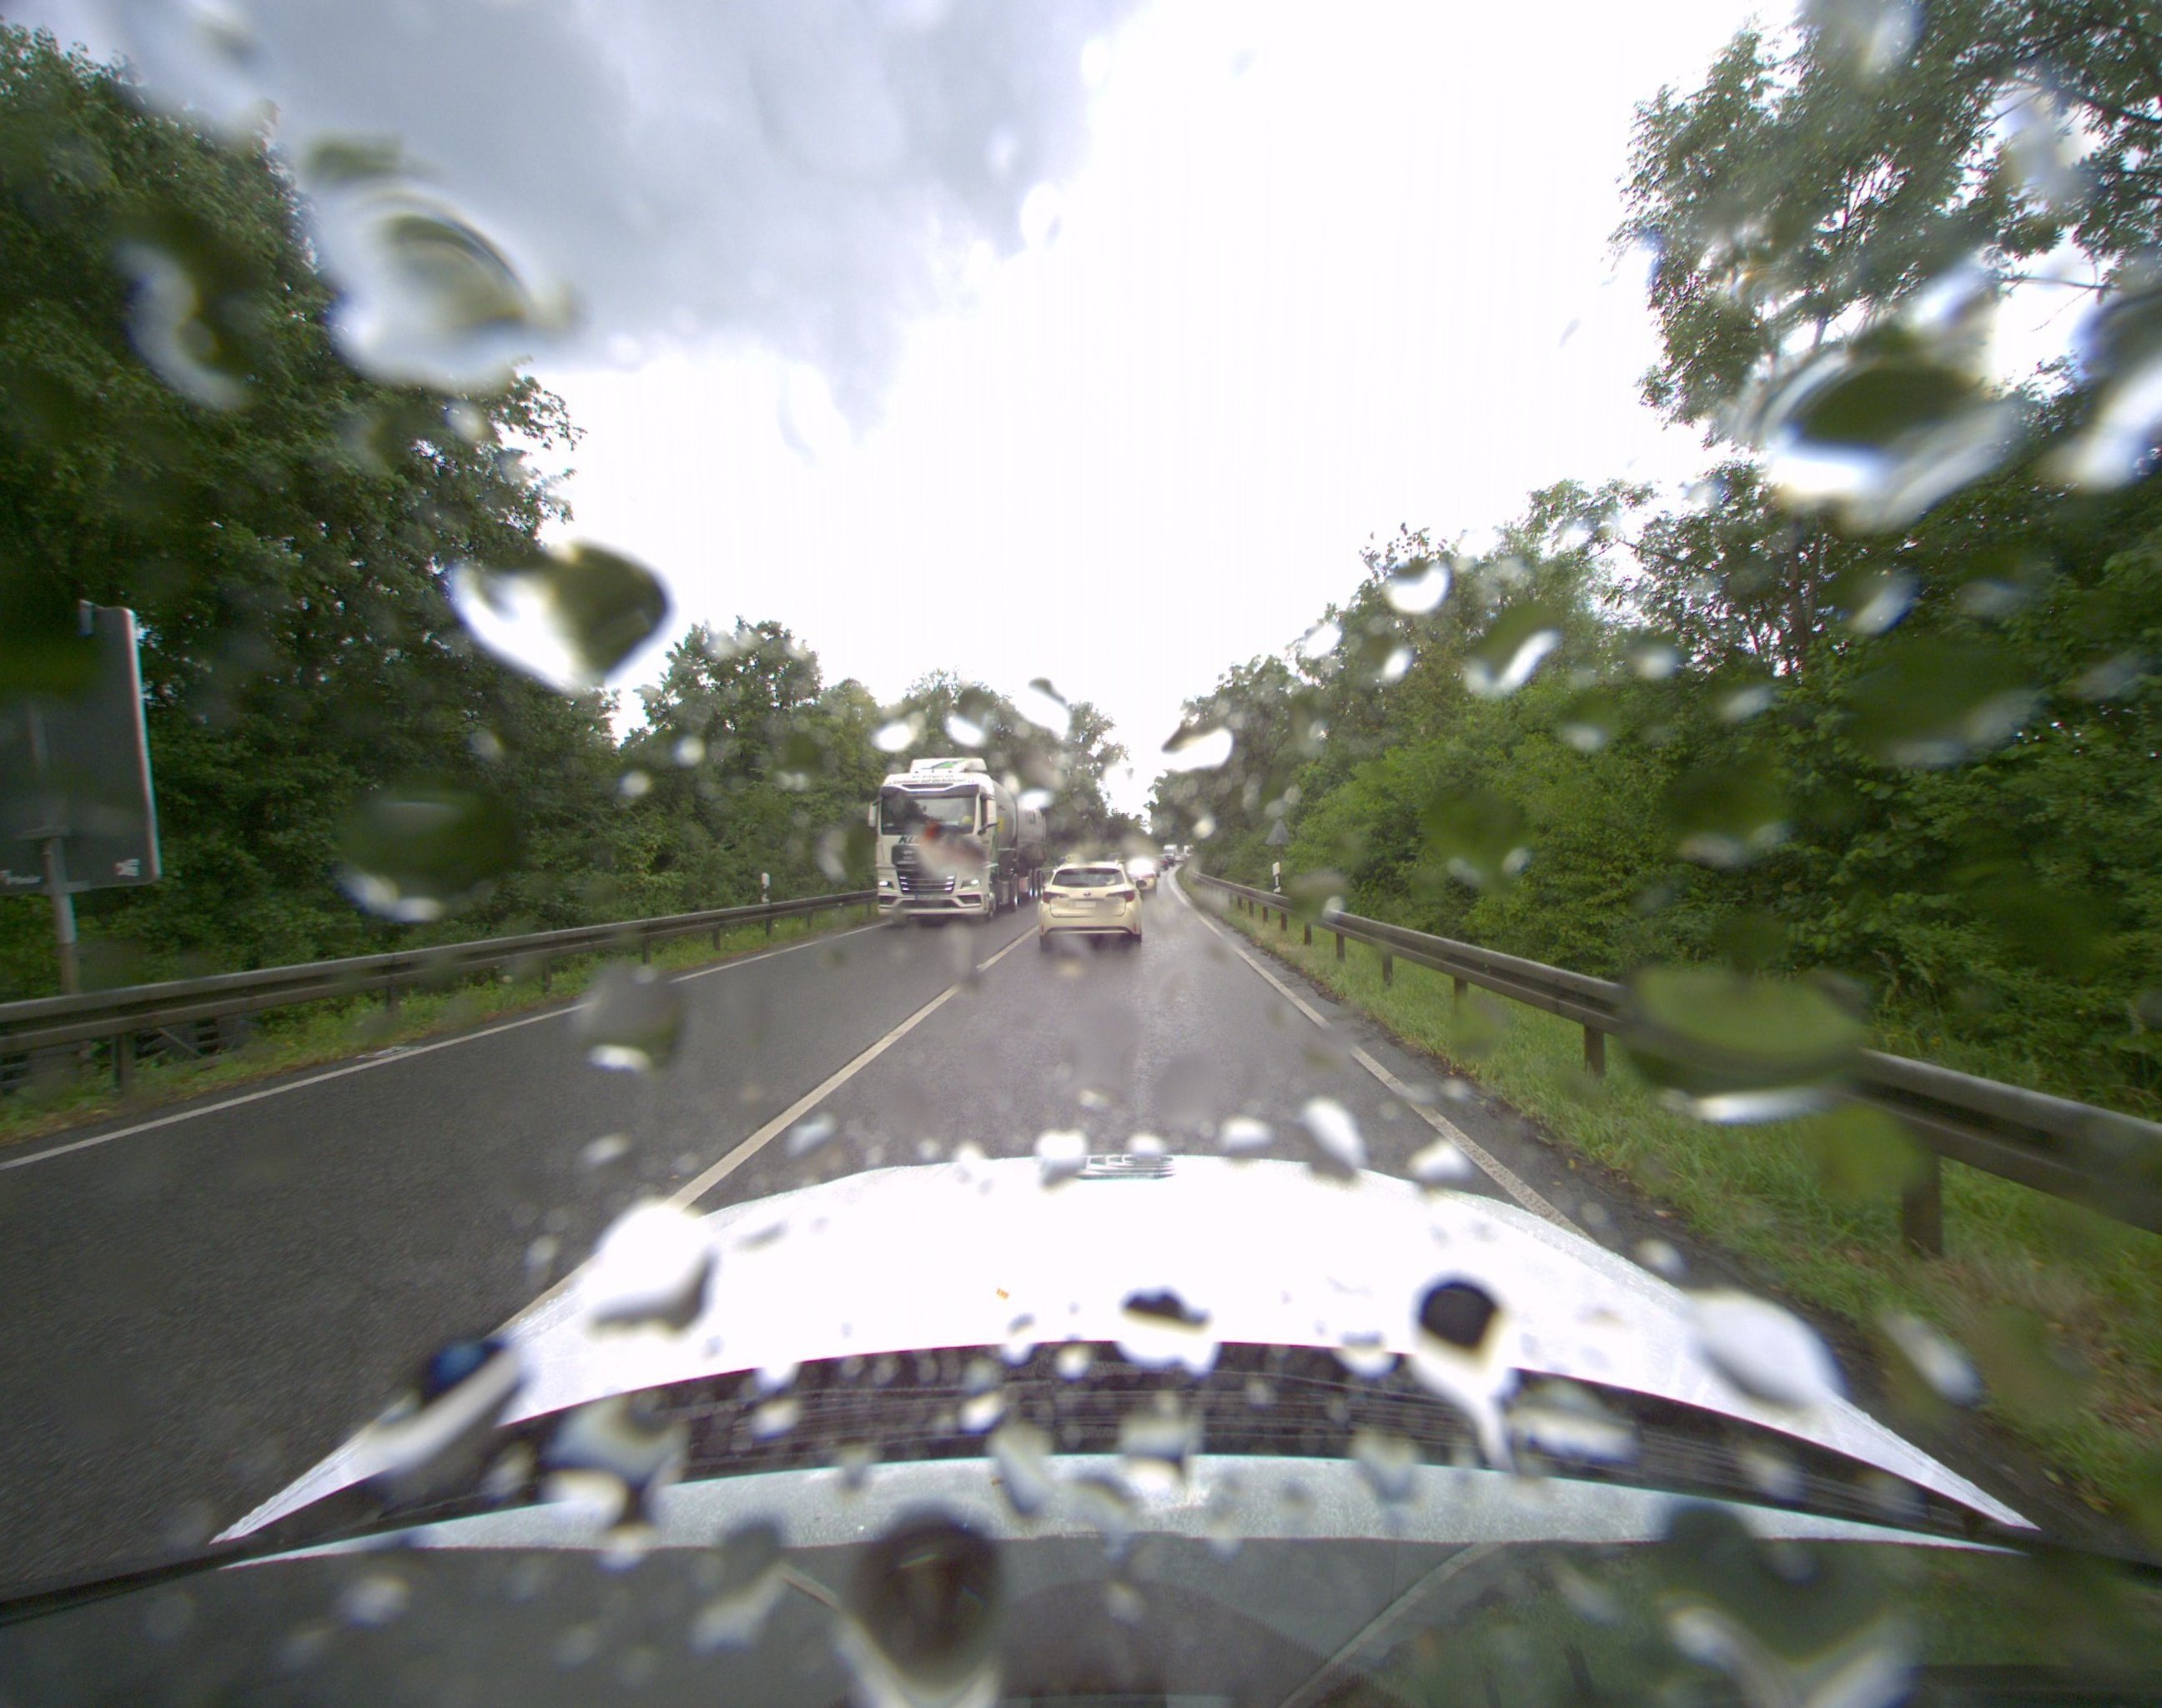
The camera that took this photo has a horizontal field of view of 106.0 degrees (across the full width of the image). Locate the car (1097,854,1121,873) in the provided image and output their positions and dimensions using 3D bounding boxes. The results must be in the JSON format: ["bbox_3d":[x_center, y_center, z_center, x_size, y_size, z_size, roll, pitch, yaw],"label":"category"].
[{"bbox_3d":[2.573,0.833,74.193,1.838,1.644,4.305,-1,0,5],"label":"car"}]

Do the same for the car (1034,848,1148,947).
[{"bbox_3d":[0.228,0.723,15.173,1.827,1.580,4.158,0,-1,2],"label":"car"}]

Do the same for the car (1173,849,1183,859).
[{"bbox_3d":[19.029,0.012,159.590,1.983,2.014,4.008,-1,-1,7],"label":"car"}]

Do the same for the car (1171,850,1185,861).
[{"bbox_3d":[13.790,0.255,115.810,1.759,1.547,3.824,-1,-1,10],"label":"car"}]

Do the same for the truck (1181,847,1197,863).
[{"bbox_3d":[18.260,0.192,137.737,2.536,2.713,7.548,-1,-1,6],"label":"truck"}]

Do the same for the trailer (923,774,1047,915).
[{"bbox_3d":[-2.769,-0.202,26.044,2.525,3.825,7.799,0,-1,4],"label":"trailer"}]

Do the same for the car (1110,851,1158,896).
[{"bbox_3d":[2.003,0.712,30.360,1.660,1.580,3.897,-1,-1,5],"label":"car"}]

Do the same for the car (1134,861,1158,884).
[{"bbox_3d":[4.714,1.309,59.089,1.603,1.547,3.820,-1,-1,6],"label":"car"}]

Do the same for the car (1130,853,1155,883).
[{"bbox_3d":[3.333,0.771,44.072,1.295,1.547,3.263,0,-1,4],"label":"car"}]

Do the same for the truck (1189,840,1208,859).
[{"bbox_3d":[23.096,-0.869,160.163,3.086,3.680,7.024,-1,-1,13],"label":"truck"}]

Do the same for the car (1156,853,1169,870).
[{"bbox_3d":[7.728,0.711,76.954,1.161,1.547,2.607,-1,-1,5],"label":"car"}]

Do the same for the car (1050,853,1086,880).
[{"bbox_3d":[-0.735,0.740,48.767,1.699,1.516,3.918,-1,-1,5],"label":"car"}]

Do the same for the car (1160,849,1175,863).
[{"bbox_3d":[10.156,0.246,95.744,1.608,1.613,3.627,-1,-1,5],"label":"car"}]

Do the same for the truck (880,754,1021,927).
[{"bbox_3d":[-3.092,-0.270,20.654,2.526,3.825,5.247,0,-1,2],"label":"truck"}]
